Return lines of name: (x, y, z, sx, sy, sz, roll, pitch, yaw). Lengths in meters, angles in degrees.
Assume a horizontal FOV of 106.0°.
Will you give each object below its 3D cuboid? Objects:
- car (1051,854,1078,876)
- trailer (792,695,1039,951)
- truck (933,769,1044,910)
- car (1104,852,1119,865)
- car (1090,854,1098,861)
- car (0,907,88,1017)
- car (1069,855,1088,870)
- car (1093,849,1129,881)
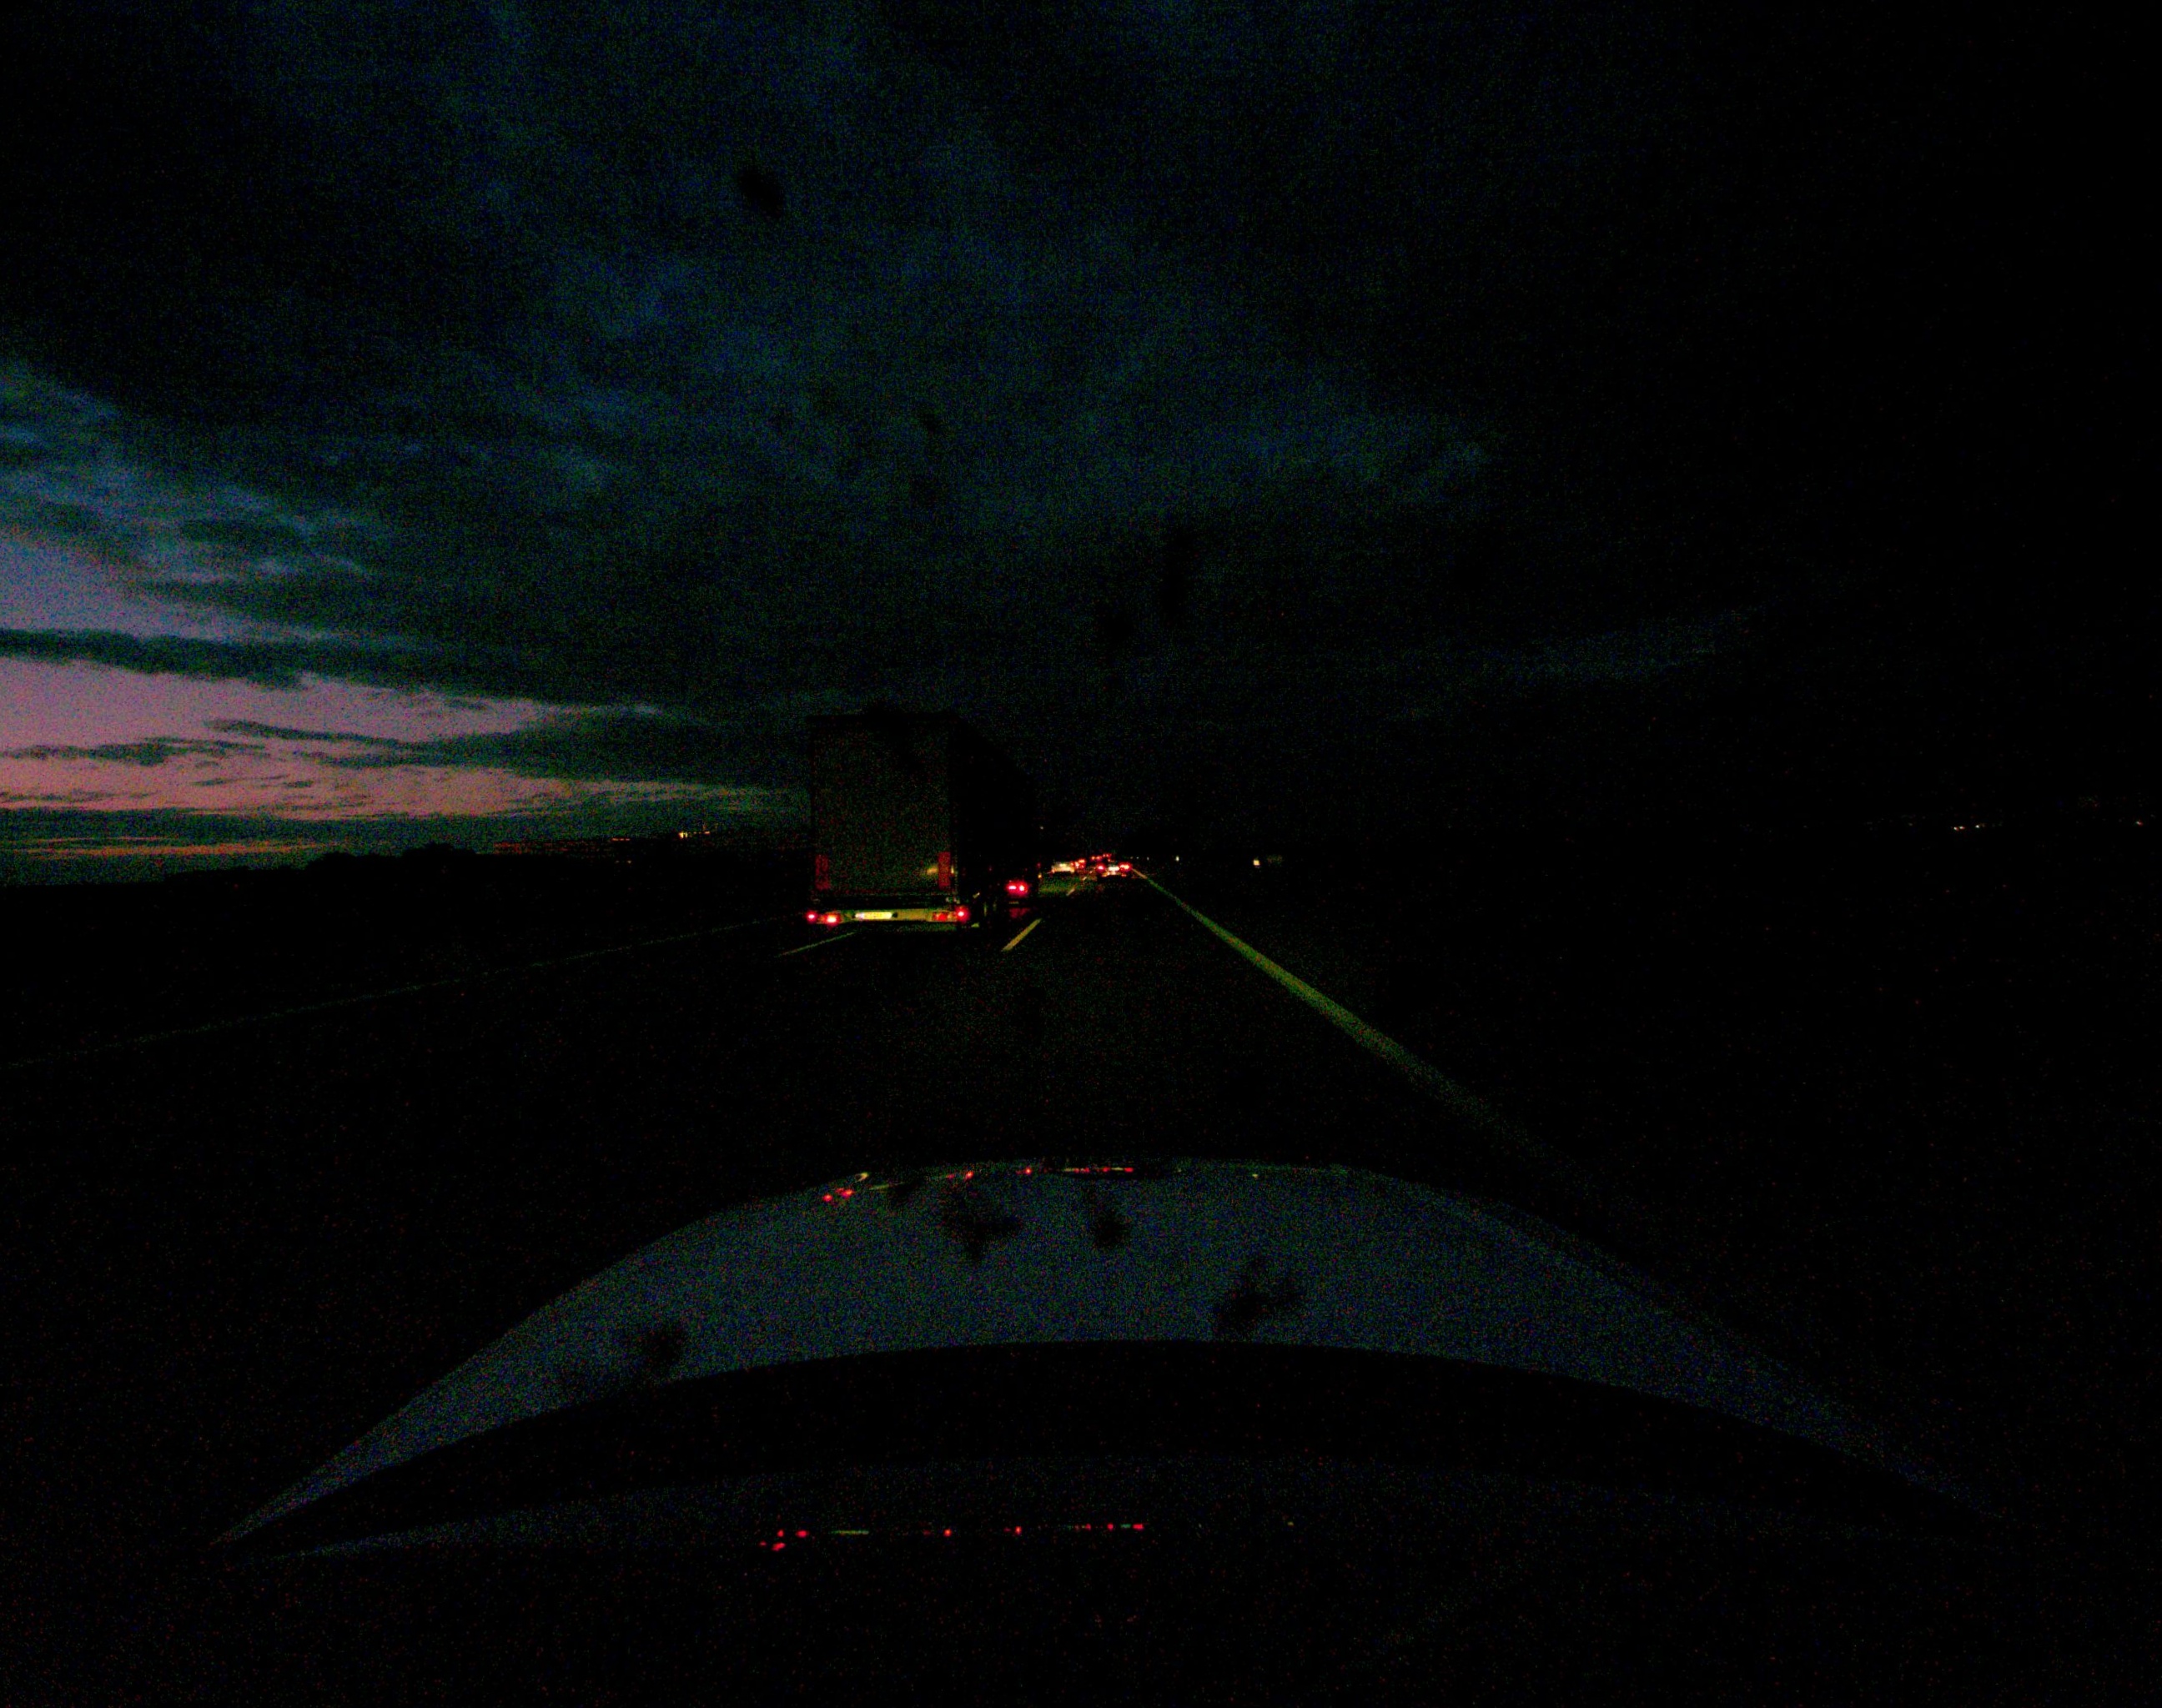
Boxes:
car: (-1.186, 0.796, 60.760, 1.737, 1.525, 4.417, -1, -1, 3)
trailer: (-3.079, -0.441, 20.552, 2.784, 4.085, 14.529, -2, -1, 2)
truck: (-2.894, -0.399, 27.284, 2.767, 4.093, 6.104, -2, -1, 1)
car: (3.970, 0.593, 105.663, 1.873, 1.552, 4.001, -1, -1, 1)
car: (3.226, 0.919, 198.203, 1.873, 1.552, 4.001, -1, -1, 1)
car: (-21.486, 2.090, 14.632, 1.767, 2.014, 4.420, -1, -1, 2)
car: (-0.258, 0.824, 82.319, 1.716, 1.471, 4.728, -1, -1, 2)
car: (1.656, 0.591, 44.584, 1.873, 1.643, 4.002, -1, -1, 2)
